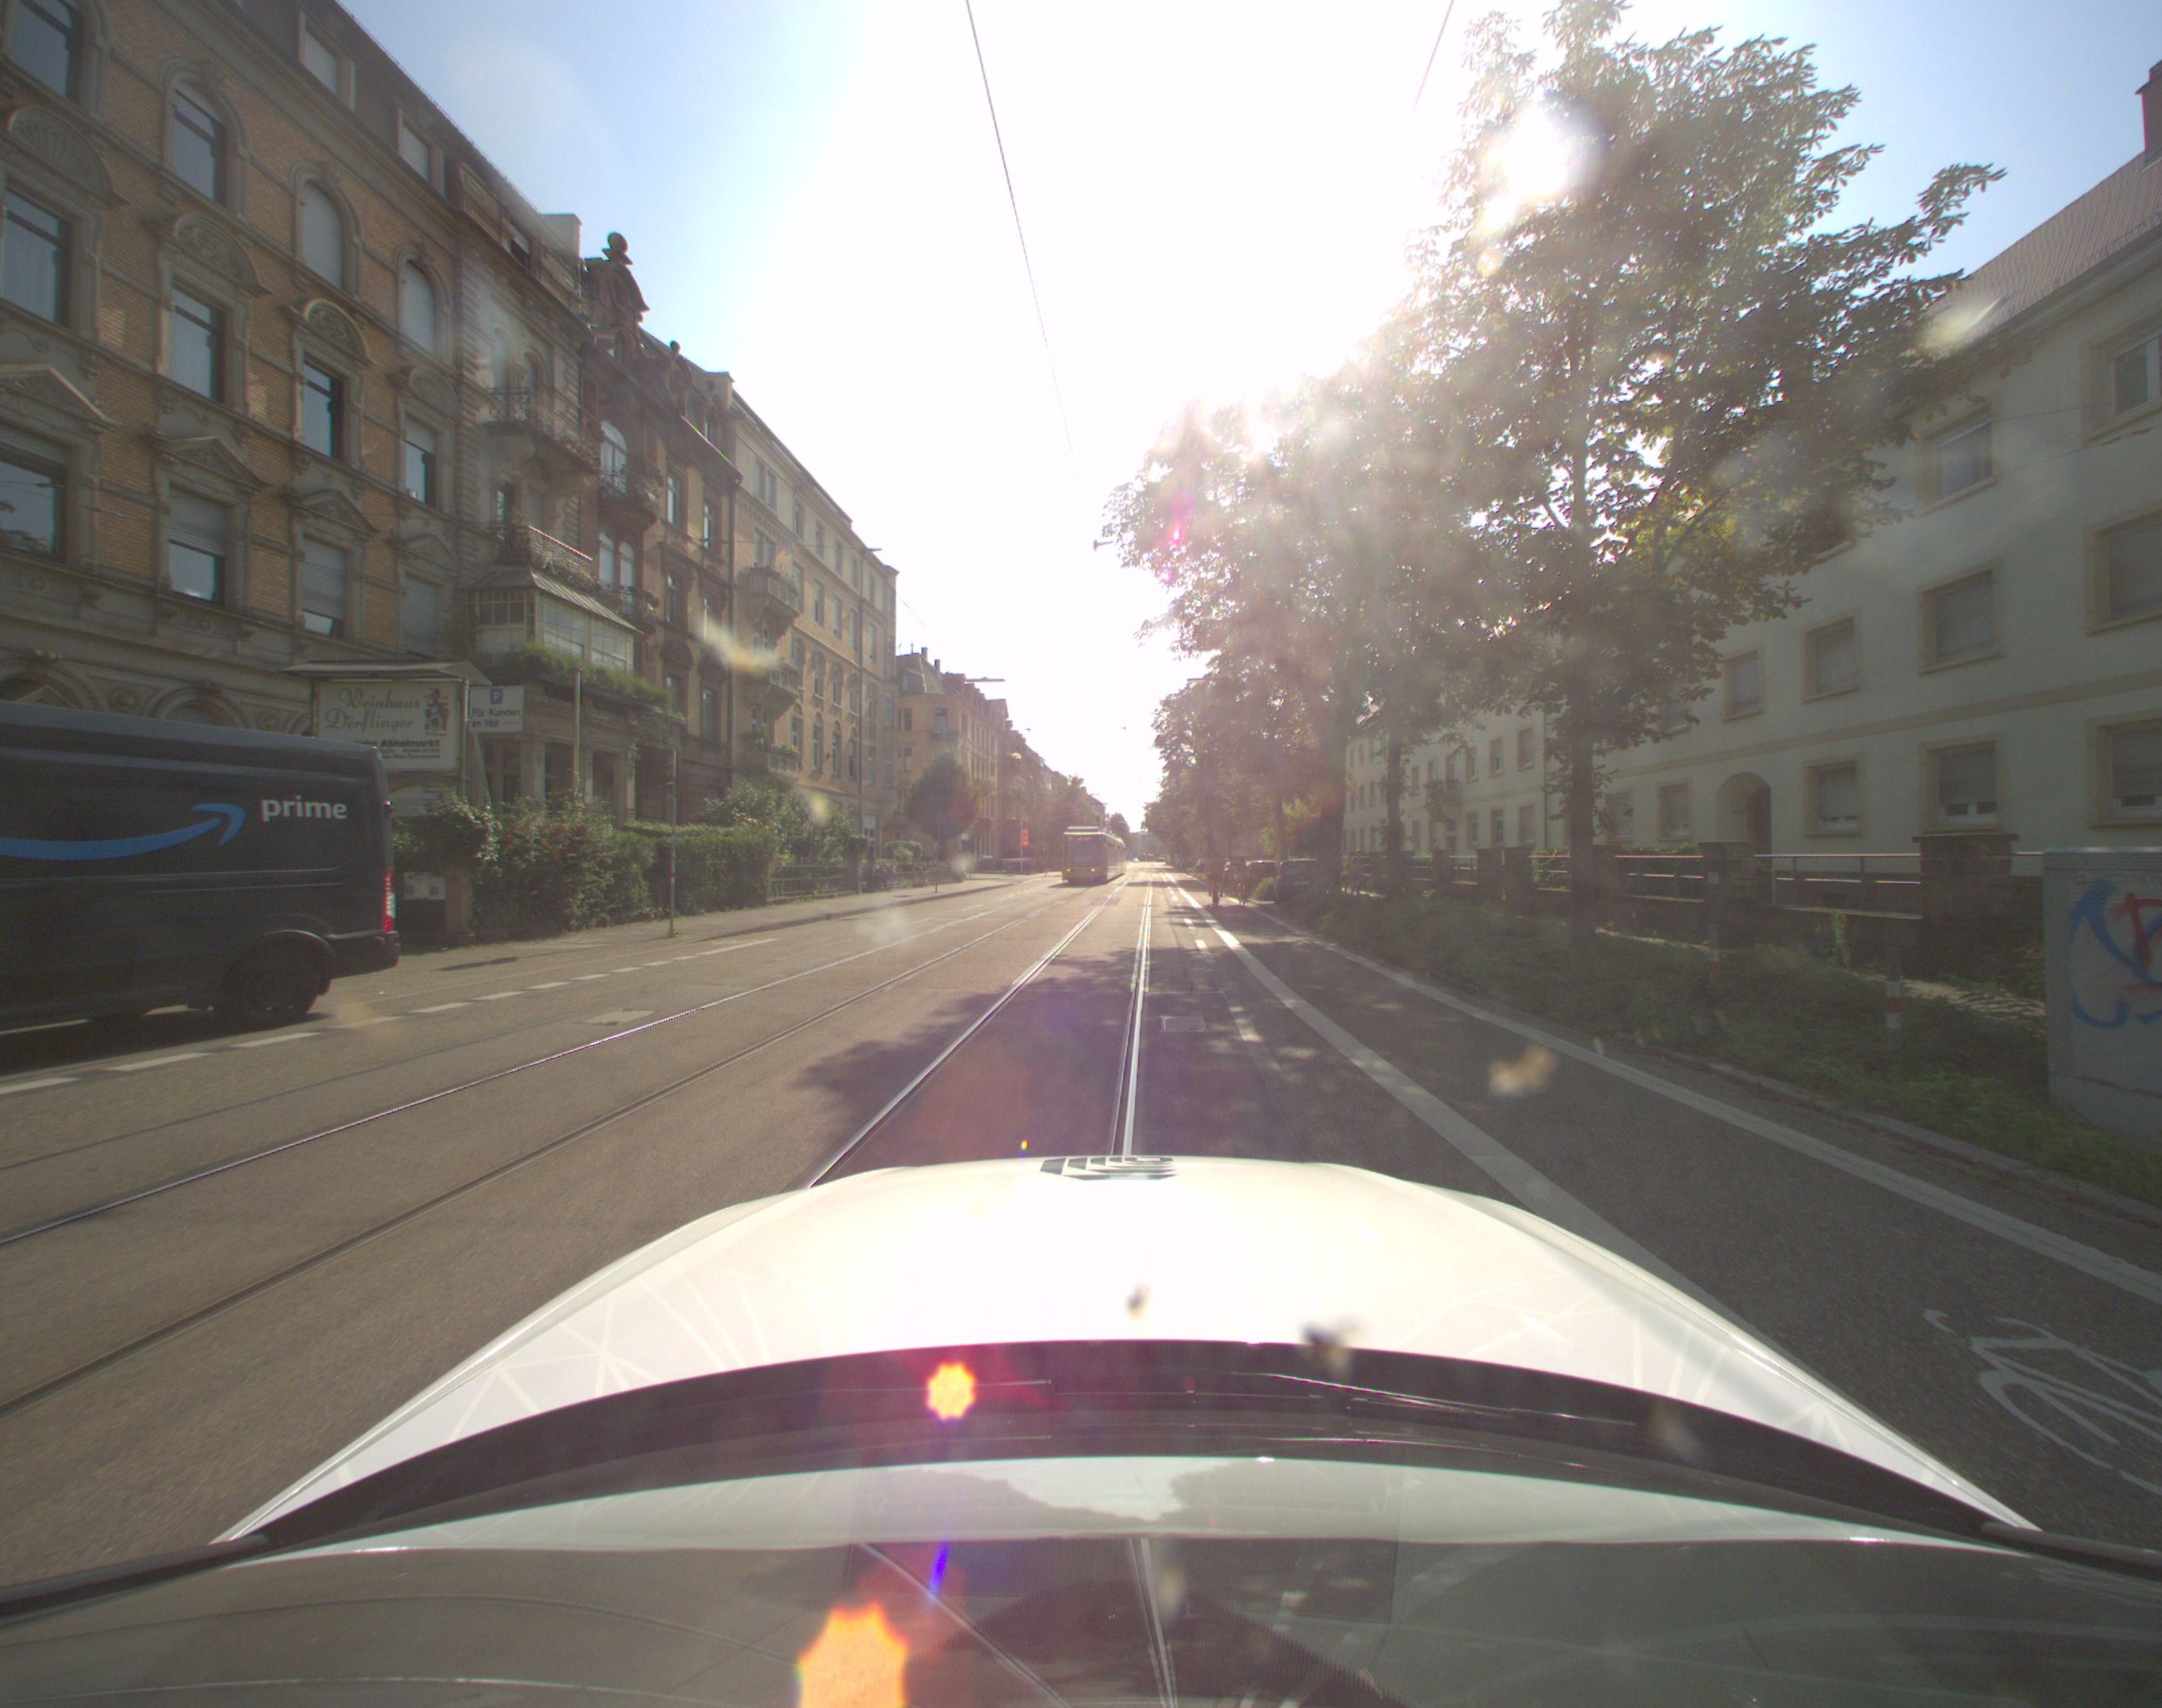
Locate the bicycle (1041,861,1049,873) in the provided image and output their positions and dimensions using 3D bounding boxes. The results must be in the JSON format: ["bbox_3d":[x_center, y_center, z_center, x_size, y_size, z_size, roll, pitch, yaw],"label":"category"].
[{"bbox_3d":[-3.595,1.291,81.584,0.506,1.108,2.006,0,-1,5],"label":"bicycle"}]

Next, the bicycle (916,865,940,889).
[{"bbox_3d":[-7.415,1.109,39.563,0.542,1.058,1.843,4,0,7],"label":"bicycle"}]

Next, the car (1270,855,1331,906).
[{"bbox_3d":[7.325,0.853,27.464,1.635,1.540,3.853,-2,-1,10],"label":"car"}]

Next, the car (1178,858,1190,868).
[{"bbox_3d":[16.441,1.463,130.411,1.763,1.473,3.979,-1,-1,5],"label":"car"}]

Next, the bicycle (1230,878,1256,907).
[{"bbox_3d":[5.481,1.291,27.669,0.651,0.909,1.777,2,0,4],"label":"bicycle"}]

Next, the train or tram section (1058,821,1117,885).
[{"bbox_3d":[0.695,-0.041,52.422,2.722,3.505,15.451,0,0,5],"label":"train or tram section"}]

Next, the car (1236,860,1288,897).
[{"bbox_3d":[7.774,1.018,35.235,1.637,1.448,4.252,-2,-1,5],"label":"car"}]

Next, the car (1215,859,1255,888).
[{"bbox_3d":[8.681,1.073,46.145,1.682,1.435,4.342,-3,0,4],"label":"car"}]

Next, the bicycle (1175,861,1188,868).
[{"bbox_3d":[17.411,1.764,140.854,2.097,1.105,0.616,-2,-1,3],"label":"bicycle"}]

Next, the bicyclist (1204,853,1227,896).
[{"bbox_3d":[4.524,0.678,27.437,0.623,1.401,0.930,2,-1,4],"label":"bicyclist"}]

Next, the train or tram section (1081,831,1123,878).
[{"bbox_3d":[1.814,0.052,65.477,2.722,3.505,10.789,0,0,4],"label":"train or tram section"}]

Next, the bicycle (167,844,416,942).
[{"bbox_3d":[-12.430,0.601,12.913,2.867,1.455,0.997,1,0,-2],"label":"bicycle"}]

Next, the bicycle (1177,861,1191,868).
[{"bbox_3d":[16.093,1.615,126.760,2.101,1.105,0.562,0,-1,-3],"label":"bicycle"}]

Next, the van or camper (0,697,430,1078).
[{"bbox_3d":[-8.508,0.240,5.808,2.037,2.644,6.109,-1,-1,12],"label":"van or camper"}]

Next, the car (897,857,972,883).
[{"bbox_3d":[-9.013,0.991,50.214,4.118,1.543,2.066,1,-1,4],"label":"car"}]

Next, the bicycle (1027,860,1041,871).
[{"bbox_3d":[-4.676,1.127,80.635,1.352,1.060,0.417,1,-1,2],"label":"bicycle"}]

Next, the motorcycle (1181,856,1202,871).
[{"bbox_3d":[13.243,1.164,97.662,0.918,1.674,2.391,-2,0,-41],"label":"motorcycle"}]

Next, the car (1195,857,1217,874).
[{"bbox_3d":[11.484,1.047,75.165,1.735,1.561,4.726,-1,-1,6],"label":"car"}]

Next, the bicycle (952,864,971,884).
[{"bbox_3d":[-6.805,1.118,46.572,0.542,1.058,1.843,4,0,7],"label":"bicycle"}]

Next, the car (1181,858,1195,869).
[{"bbox_3d":[14.908,1.343,113.431,1.718,1.504,3.990,-2,-1,5],"label":"car"}]

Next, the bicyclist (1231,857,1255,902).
[{"bbox_3d":[5.493,0.857,27.658,0.651,1.474,0.909,2,-1,4],"label":"bicyclist"}]

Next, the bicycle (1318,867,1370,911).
[{"bbox_3d":[6.827,0.888,21.081,1.738,1.073,0.519,1,-1,-44],"label":"bicycle"}]

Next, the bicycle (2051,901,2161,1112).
[{"bbox_3d":[6.162,0.834,3.715,0.768,1.104,2.335,0,0,3],"label":"bicycle"}]

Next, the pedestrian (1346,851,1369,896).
[{"bbox_3d":[10.866,0.743,32.037,0.747,1.749,0.881,0,0,11],"label":"pedestrian"}]

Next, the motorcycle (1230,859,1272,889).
[{"bbox_3d":[8.220,0.959,39.461,1.847,1.289,0.705,-4,4,2],"label":"motorcycle"}]

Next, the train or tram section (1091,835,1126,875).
[{"bbox_3d":[2.679,0.106,76.280,2.722,3.505,10.789,0,0,4],"label":"train or tram section"}]

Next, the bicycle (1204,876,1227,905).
[{"bbox_3d":[4.511,1.225,27.422,0.623,0.909,1.527,2,0,4],"label":"bicycle"}]

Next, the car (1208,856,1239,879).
[{"bbox_3d":[9.795,0.930,56.253,1.682,1.502,4.101,-2,-1,5],"label":"car"}]

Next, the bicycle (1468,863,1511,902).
[{"bbox_3d":[11.648,0.789,23.242,0.521,1.073,1.731,0,0,6],"label":"bicycle"}]

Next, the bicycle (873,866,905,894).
[{"bbox_3d":[-7.922,1.064,33.643,0.603,1.058,1.843,4,0,7],"label":"bicycle"}]
